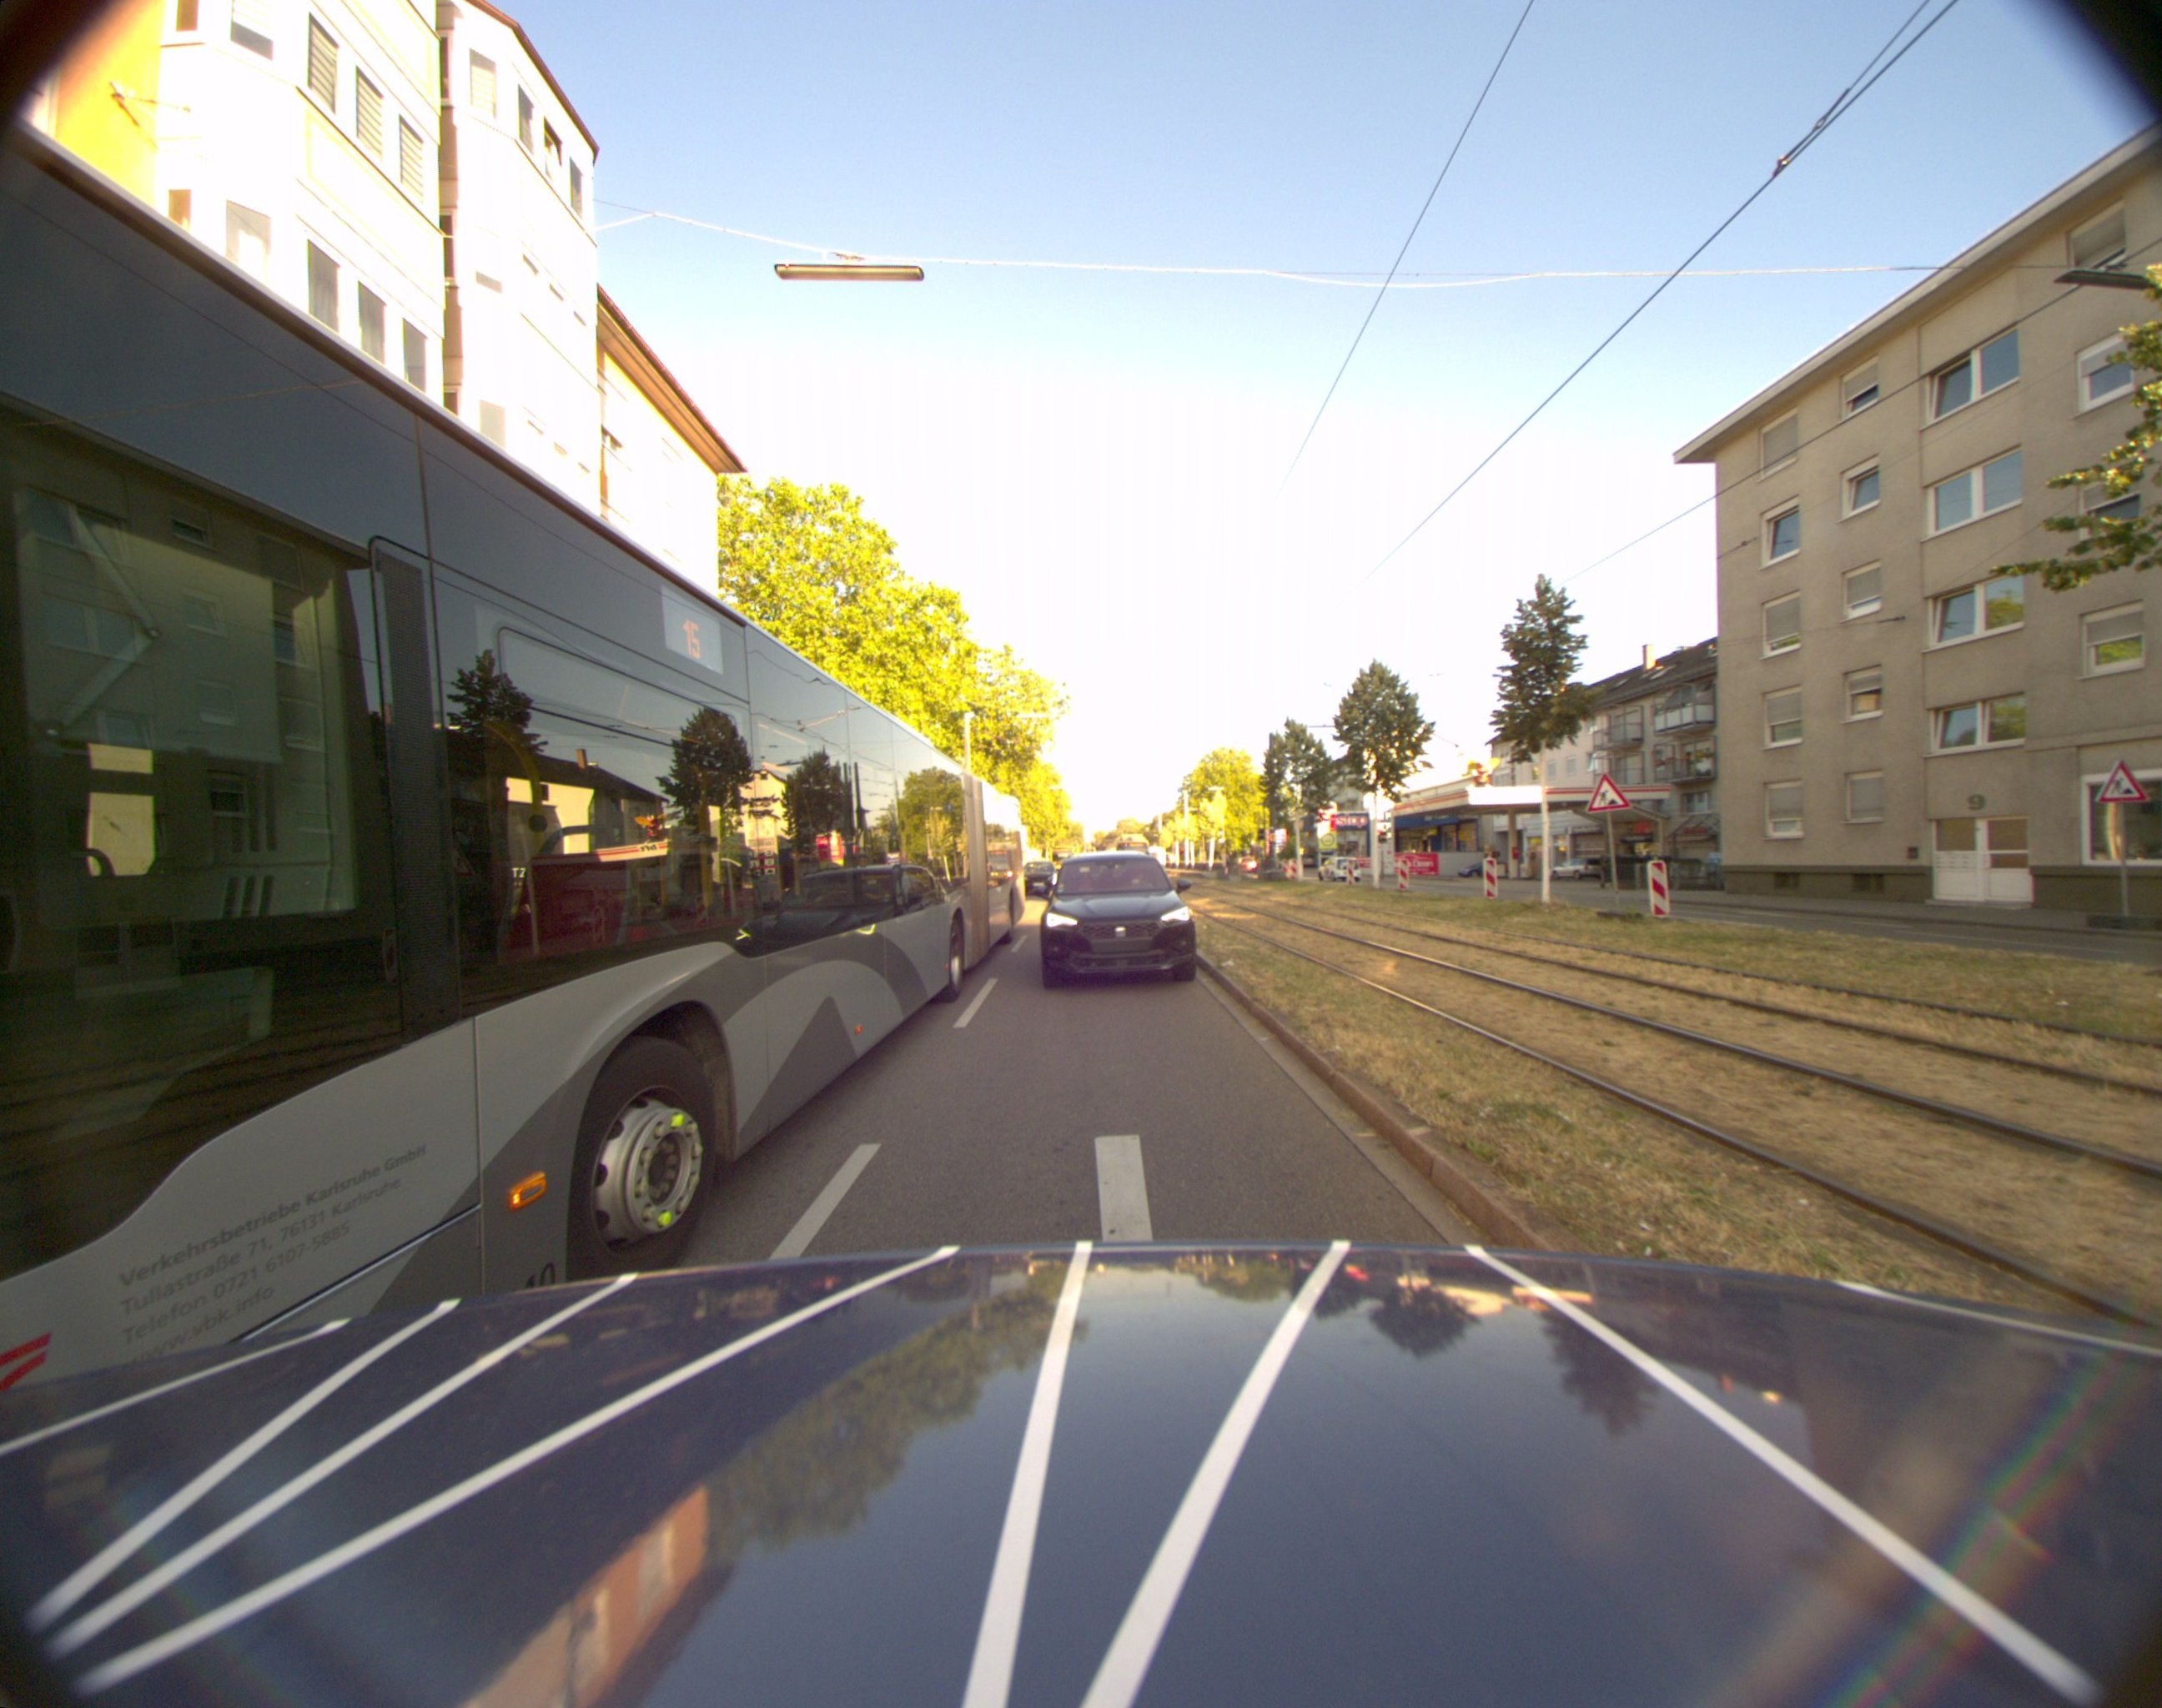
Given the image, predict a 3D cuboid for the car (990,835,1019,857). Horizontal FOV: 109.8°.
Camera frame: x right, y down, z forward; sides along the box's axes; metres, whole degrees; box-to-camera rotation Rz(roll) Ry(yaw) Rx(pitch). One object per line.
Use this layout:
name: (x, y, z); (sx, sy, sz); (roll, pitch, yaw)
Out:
car: (-5.986, -0.612, 59.717); (1.800, 1.621, 4.000); (0, -1, 1)

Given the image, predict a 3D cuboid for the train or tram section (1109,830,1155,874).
train or tram section: (4.205, -0.206, 64.896); (3.043, 3.497, 10.095); (0, 0, -1)

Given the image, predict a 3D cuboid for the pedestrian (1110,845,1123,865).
pedestrian: (2.869, 0.075, 61.542); (0.918, 1.541, 0.789); (-2, 1, -8)

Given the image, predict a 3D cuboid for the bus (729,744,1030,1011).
bus: (-2.674, 0.294, 13.405); (2.745, 3.038, 8.854); (-2, 0, 1)

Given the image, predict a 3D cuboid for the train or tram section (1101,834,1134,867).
train or tram section: (3.964, -0.366, 85.072); (3.043, 3.497, 10.095); (0, 0, -1)

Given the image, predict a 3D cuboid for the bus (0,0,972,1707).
bus: (-2.778, 0.270, 4.407); (2.745, 3.038, 9.131); (-2, 0, 1)

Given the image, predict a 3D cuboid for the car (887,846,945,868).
car: (-13.079, 0.245, 60.466); (4.122, 1.541, 1.803); (-3, 0, 2)

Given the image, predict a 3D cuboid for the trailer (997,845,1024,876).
trailer: (-6.093, 0.536, 66.227); (1.890, 2.573, 4.651); (-1, 0, 1)

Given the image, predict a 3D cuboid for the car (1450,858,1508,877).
car: (32.629, 1.096, 62.395); (3.803, 1.514, 1.818); (-1, 0, 3)

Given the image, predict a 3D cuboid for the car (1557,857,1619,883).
car: (33.922, 1.055, 50.952); (1.816, 1.514, 3.829); (-3, 1, 4)

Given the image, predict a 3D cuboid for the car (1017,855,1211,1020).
car: (0.365, 0.867, 9.859); (1.910, 1.606, 4.086); (-3, 0, 1)

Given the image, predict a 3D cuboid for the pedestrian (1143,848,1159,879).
pedestrian: (4.369, 0.601, 47.346); (0.860, 1.921, 0.755); (-1, 0, -2)

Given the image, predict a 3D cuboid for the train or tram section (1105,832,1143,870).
train or tram section: (4.077, -0.288, 74.989); (3.043, 3.497, 10.095); (0, 0, -1)

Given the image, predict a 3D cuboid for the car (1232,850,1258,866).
car: (16.417, 0.362, 76.063); (1.816, 1.551, 4.935); (-1, 1, 4)

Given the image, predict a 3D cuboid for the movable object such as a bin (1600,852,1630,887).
movable object such as a bin: (21.313, 0.605, 30.356); (0.665, 1.392, 0.749); (-1, 0, -1)

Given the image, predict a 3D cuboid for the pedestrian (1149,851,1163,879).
pedestrian: (4.746, 0.700, 48.332); (0.755, 1.737, 0.860); (-1, 0, -3)

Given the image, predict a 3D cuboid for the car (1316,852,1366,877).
car: (15.875, 0.620, 46.587); (1.816, 1.503, 3.829); (0, 0, 1)
